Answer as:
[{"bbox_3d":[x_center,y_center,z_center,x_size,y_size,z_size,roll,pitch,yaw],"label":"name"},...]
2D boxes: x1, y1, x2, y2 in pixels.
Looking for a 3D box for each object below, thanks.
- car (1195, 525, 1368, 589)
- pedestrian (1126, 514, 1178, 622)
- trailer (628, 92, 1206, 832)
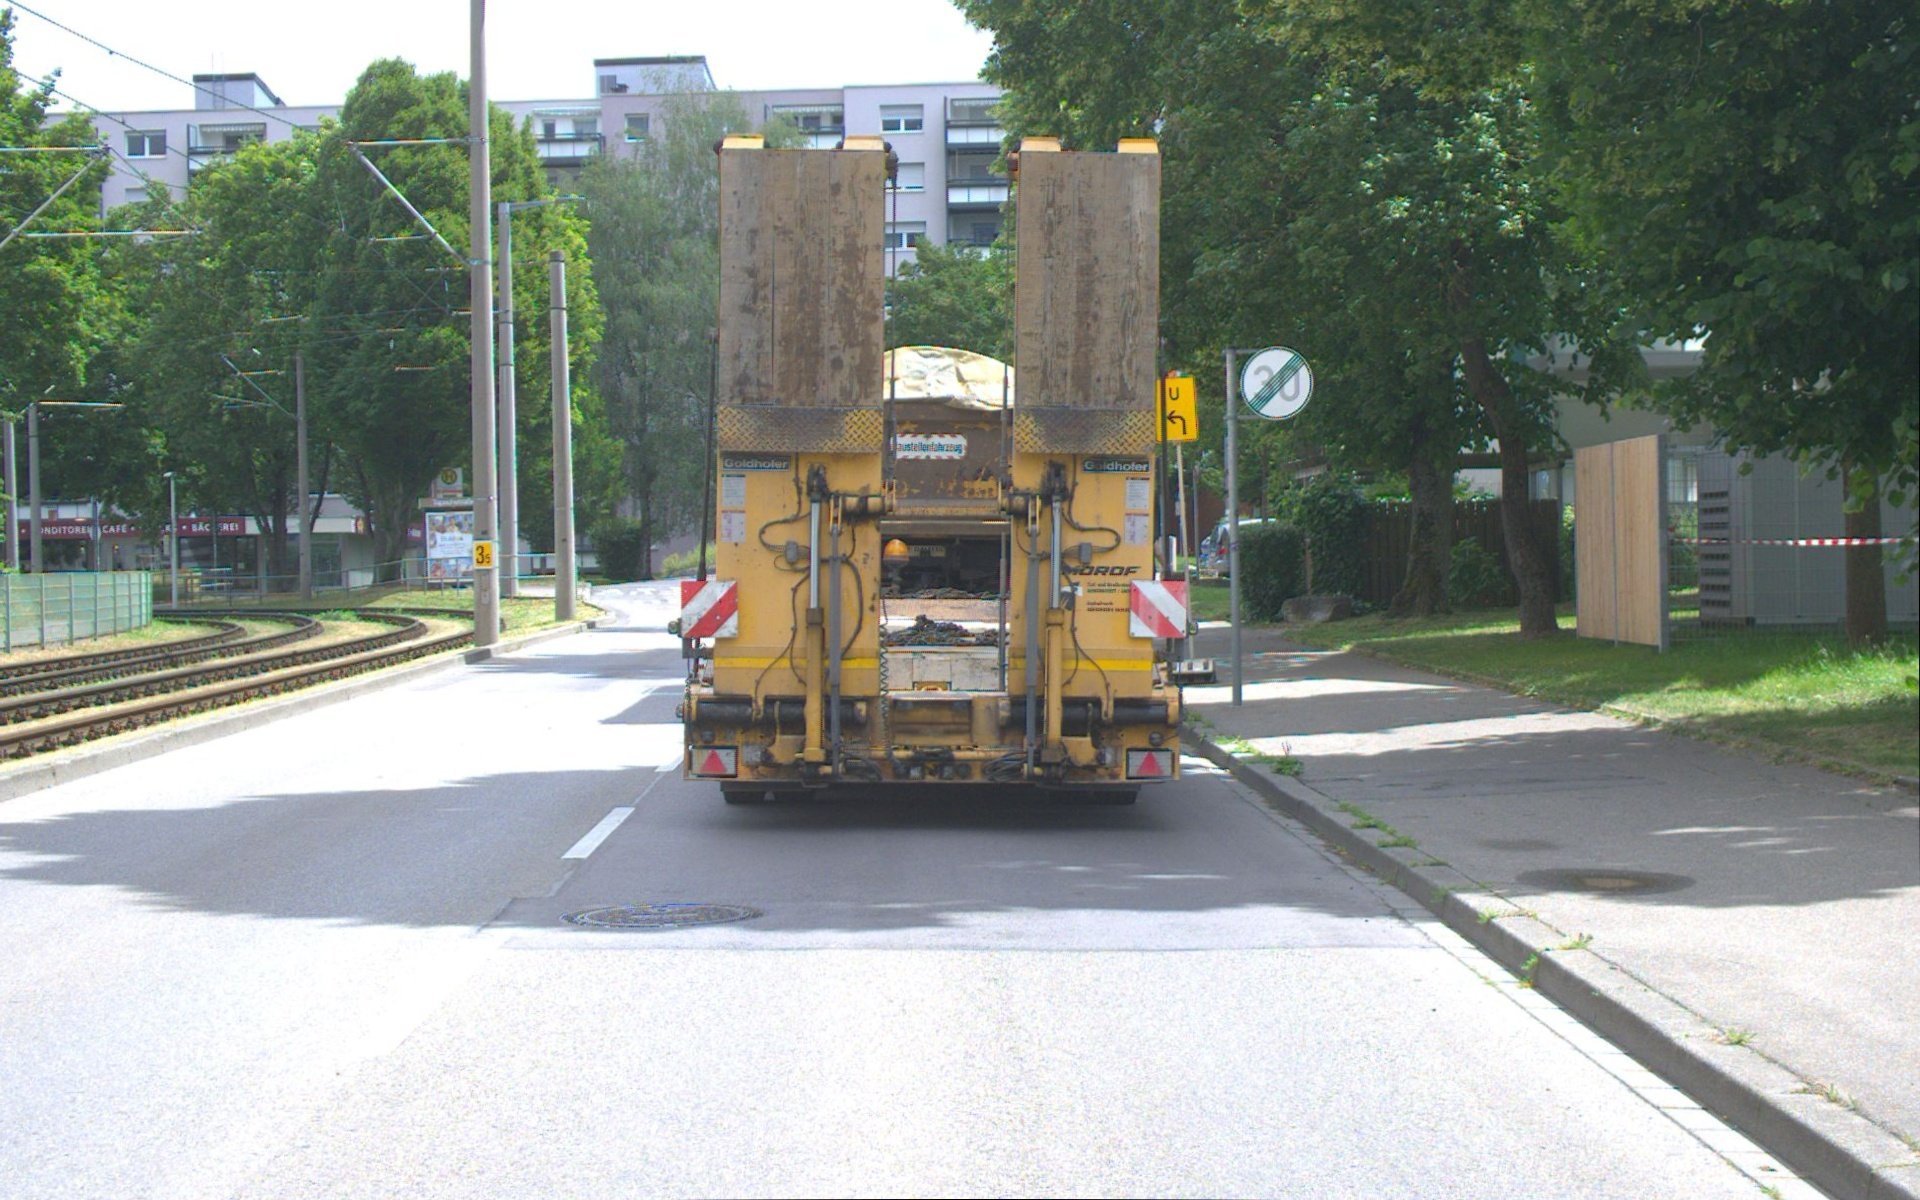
[{"bbox_3d":[8.082,-1.084,86.585,3.986,1.556,1.760,0,1,-12],"label":"car"},{"bbox_3d":[3.083,-0.520,55.273,0.718,1.700,0.766,-2,1,-1],"label":"pedestrian"},{"bbox_3d":[-0.340,-0.796,23.248,2.827,3.633,12.355,1,1,-1],"label":"trailer"}]
